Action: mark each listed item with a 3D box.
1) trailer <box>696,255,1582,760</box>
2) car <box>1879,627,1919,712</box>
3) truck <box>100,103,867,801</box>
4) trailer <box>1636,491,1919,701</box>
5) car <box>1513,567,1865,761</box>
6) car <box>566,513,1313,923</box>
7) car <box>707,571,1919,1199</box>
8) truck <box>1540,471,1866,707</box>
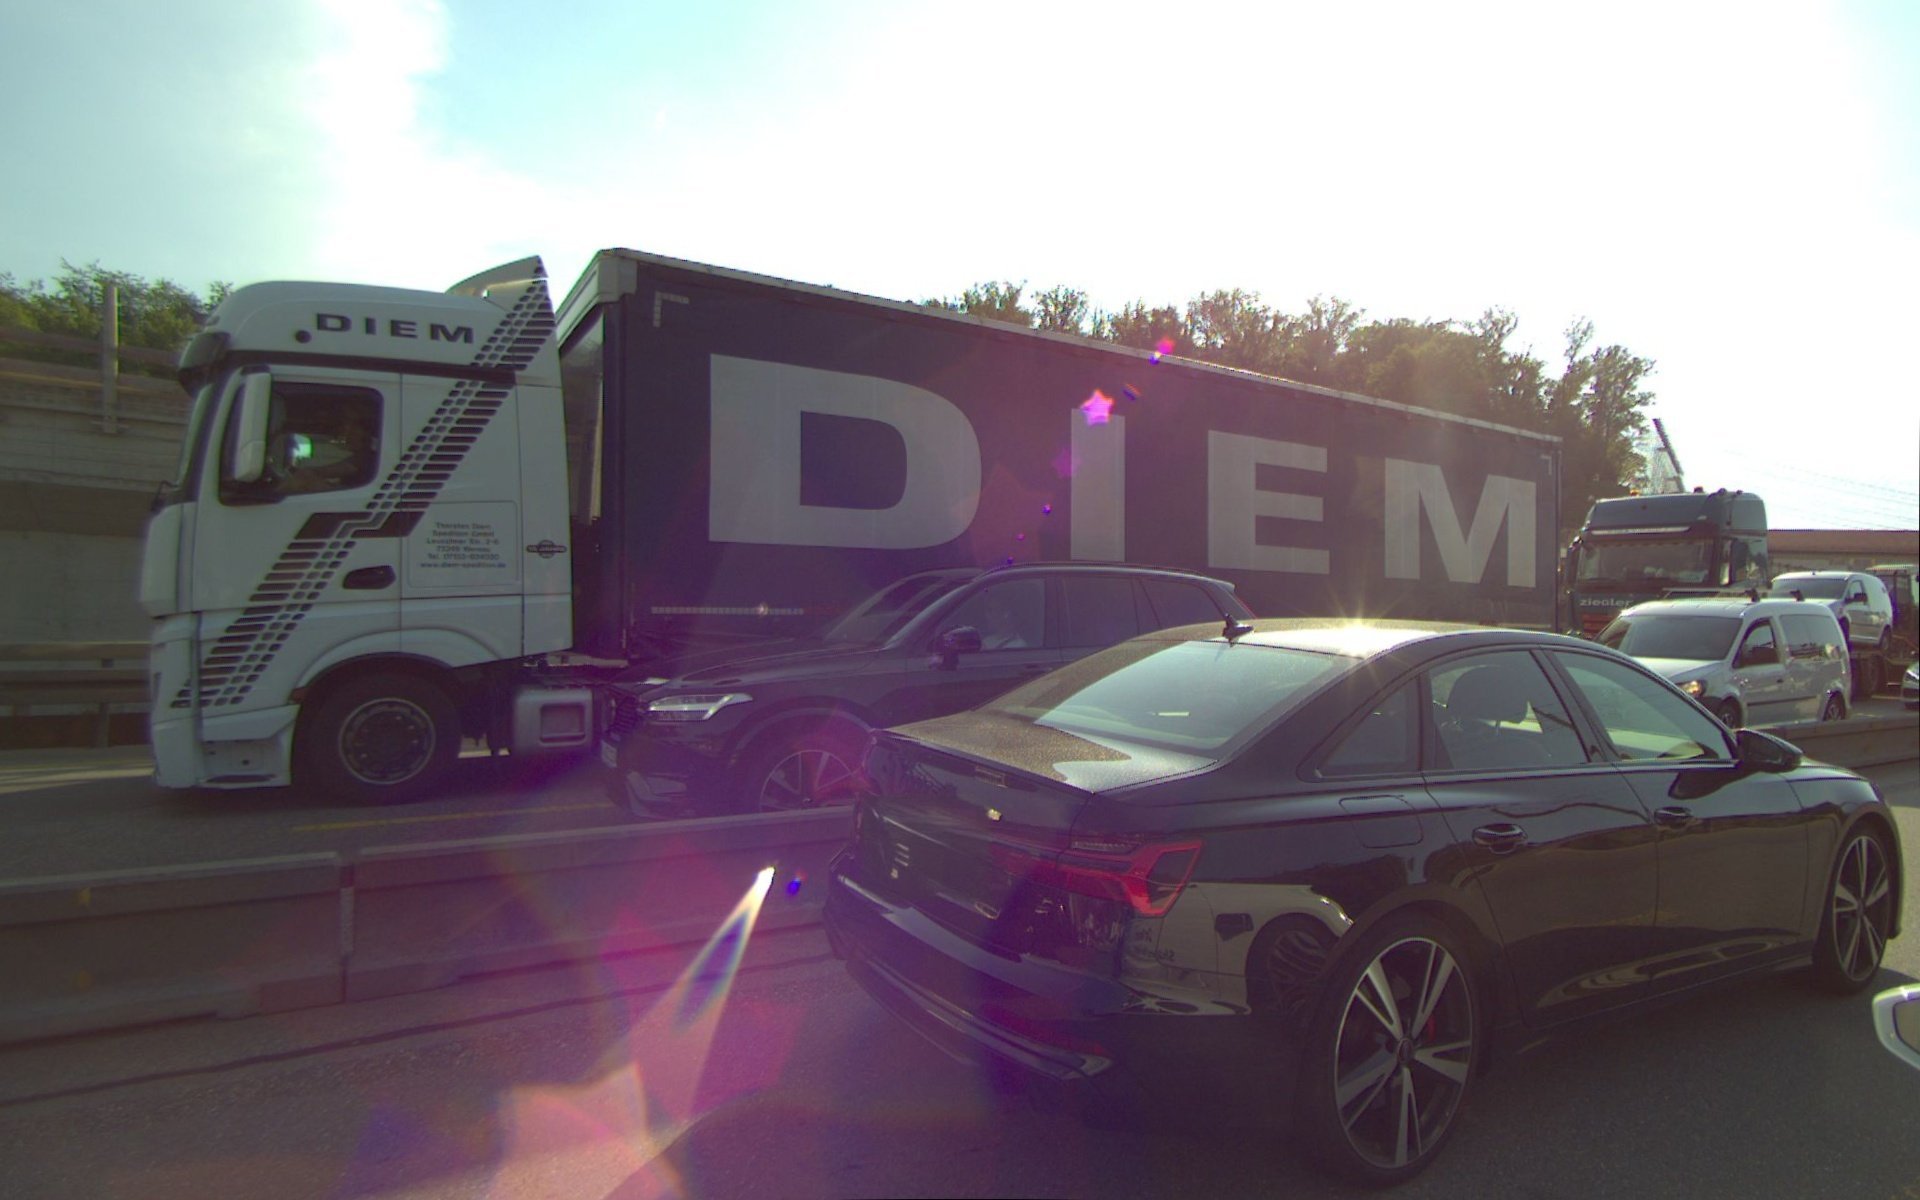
[{"bbox_3d":[3.200,-0.564,12.701,12.351,4.177,2.701,2,-2,-32],"label":"trailer"},{"bbox_3d":[19.573,1.335,19.126,4.762,1.541,1.794,2,-2,-31],"label":"car"},{"bbox_3d":[-3.654,-0.804,8.481,4.975,4.169,2.734,2,-1,-32],"label":"truck"},{"bbox_3d":[21.377,0.185,23.832,15.870,3.866,2.734,2,-2,-32],"label":"trailer"},{"bbox_3d":[9.050,0.786,12.325,5.076,1.958,1.813,3,-4,-33],"label":"car"},{"bbox_3d":[0.035,0.677,6.921,4.844,1.989,1.823,3,-1,-31],"label":"car"},{"bbox_3d":[1.826,0.791,4.005,5.162,1.500,1.931,2,-1,-31],"label":"car"},{"bbox_3d":[14.527,-0.061,19.480,7.033,3.856,2.734,2,-2,-32],"label":"truck"}]
